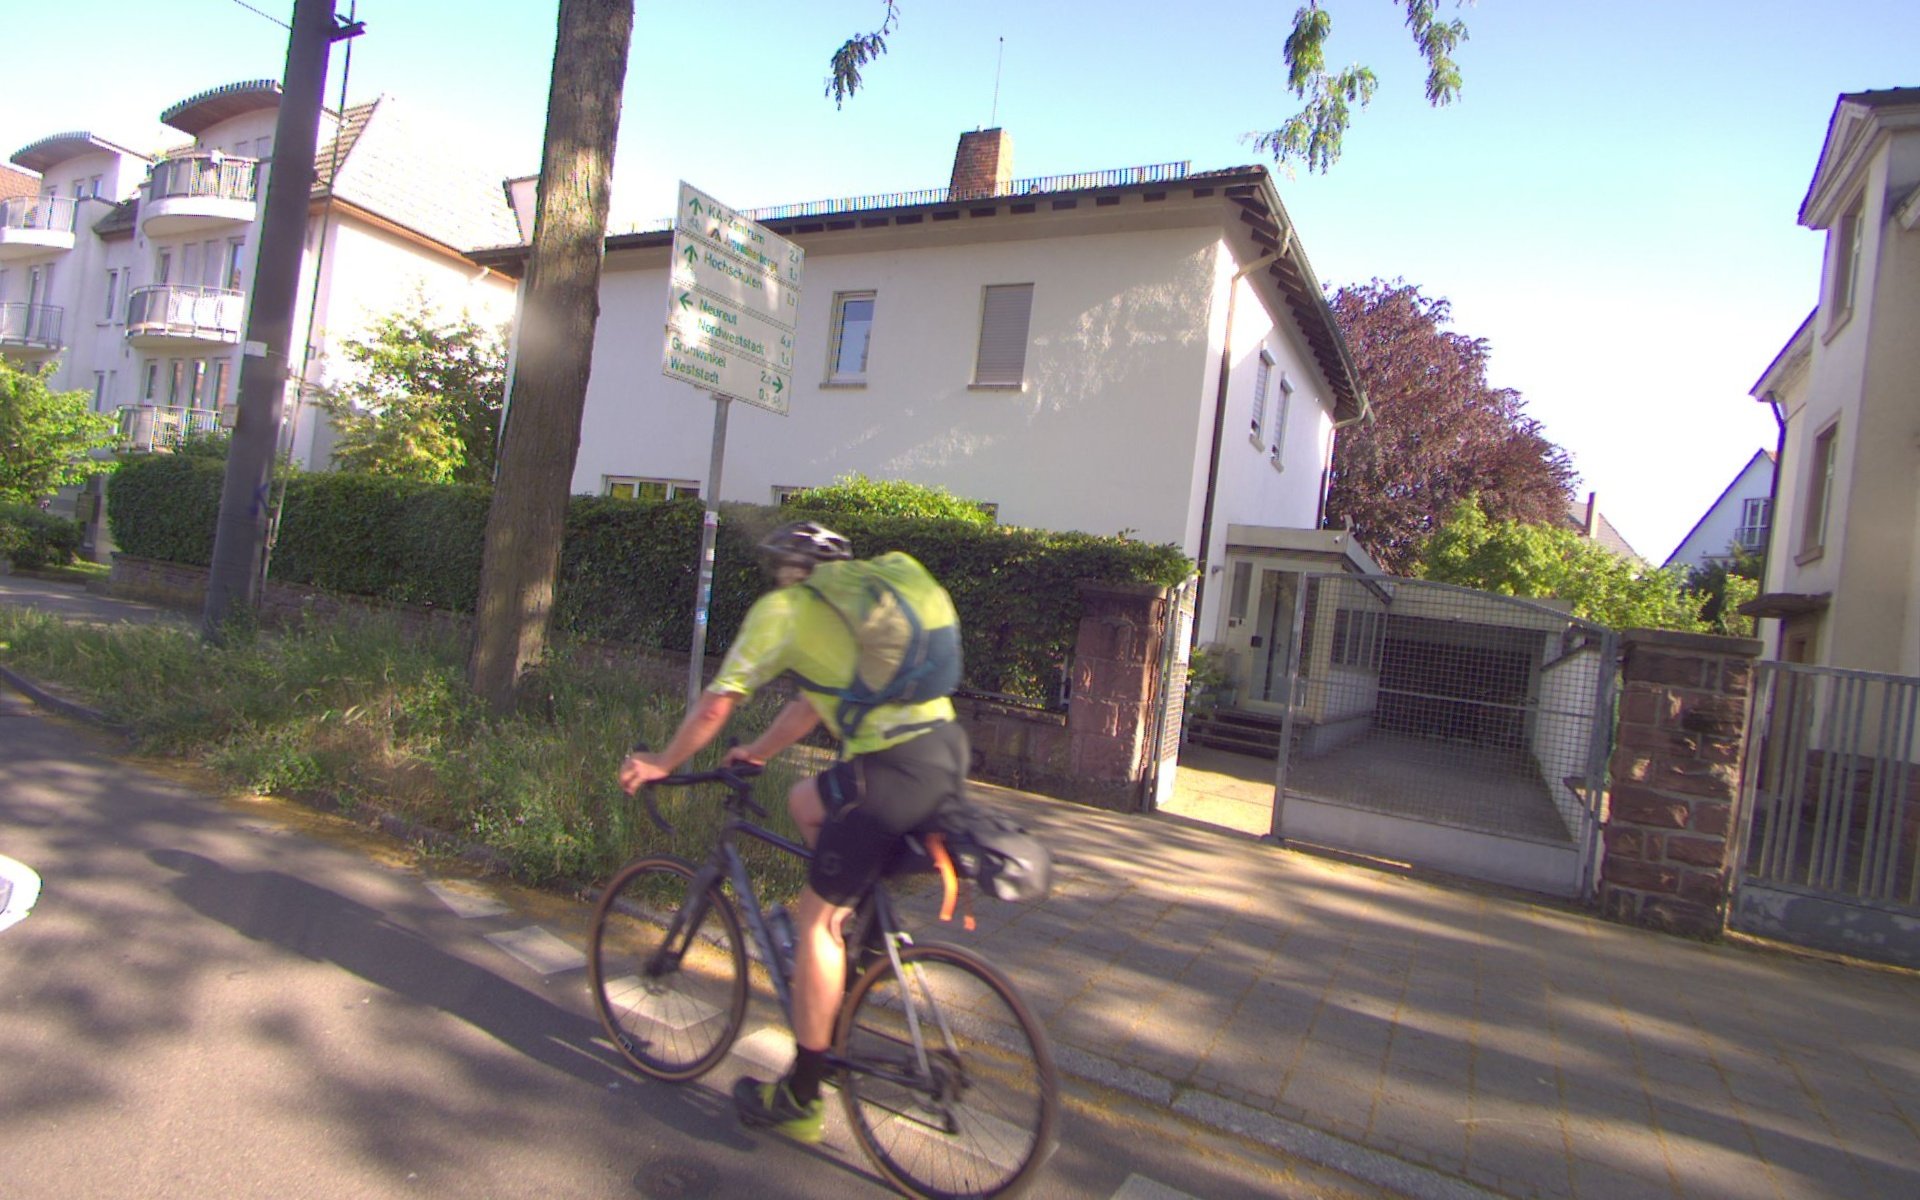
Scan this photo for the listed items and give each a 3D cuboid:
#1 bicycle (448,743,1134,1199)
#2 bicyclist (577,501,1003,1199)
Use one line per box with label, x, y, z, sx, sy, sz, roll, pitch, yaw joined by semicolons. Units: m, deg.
bicycle;-0.549;1.044;2.865;1.854;0.936;0.677;7;-1;32
bicyclist;-0.458;0.631;2.835;0.733;1.678;0.677;7;0;31
